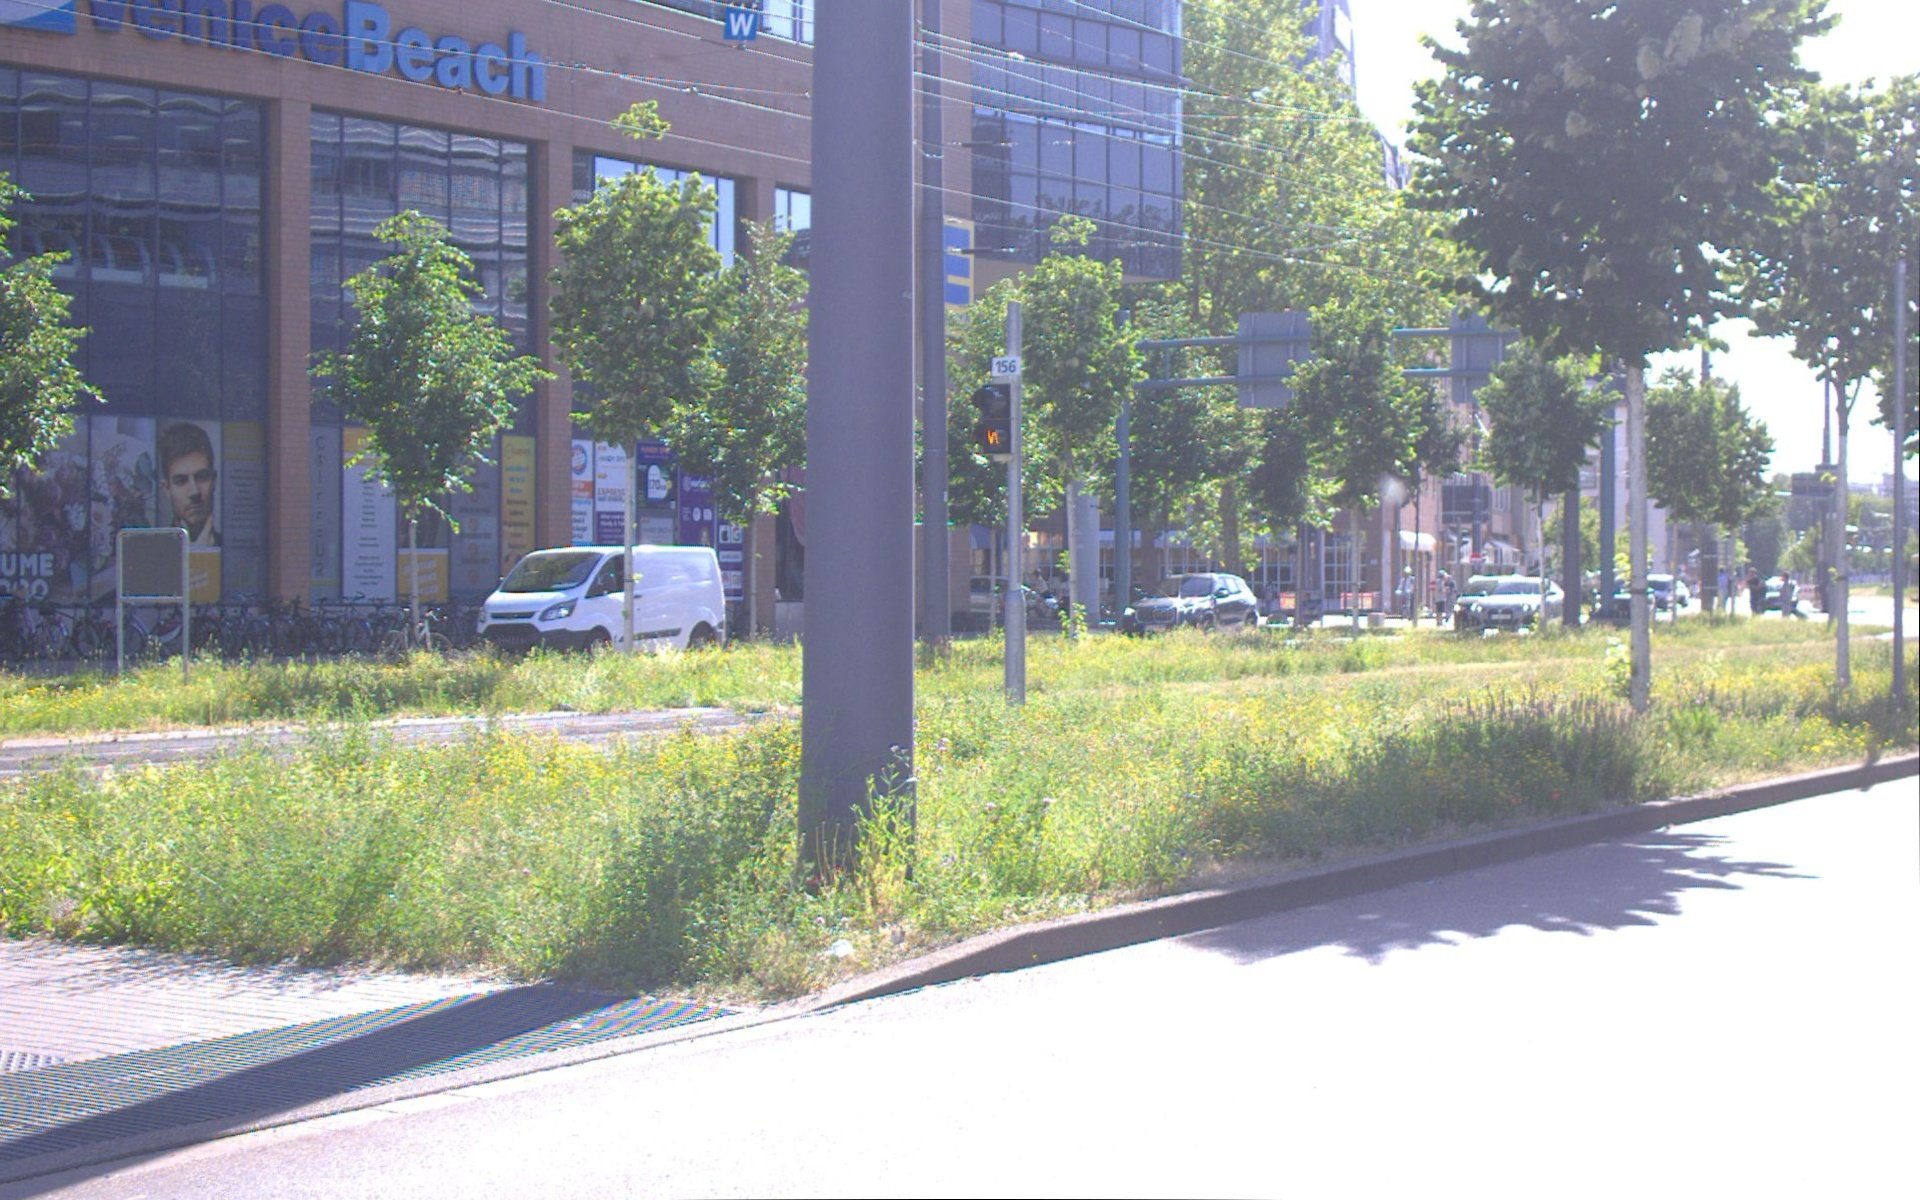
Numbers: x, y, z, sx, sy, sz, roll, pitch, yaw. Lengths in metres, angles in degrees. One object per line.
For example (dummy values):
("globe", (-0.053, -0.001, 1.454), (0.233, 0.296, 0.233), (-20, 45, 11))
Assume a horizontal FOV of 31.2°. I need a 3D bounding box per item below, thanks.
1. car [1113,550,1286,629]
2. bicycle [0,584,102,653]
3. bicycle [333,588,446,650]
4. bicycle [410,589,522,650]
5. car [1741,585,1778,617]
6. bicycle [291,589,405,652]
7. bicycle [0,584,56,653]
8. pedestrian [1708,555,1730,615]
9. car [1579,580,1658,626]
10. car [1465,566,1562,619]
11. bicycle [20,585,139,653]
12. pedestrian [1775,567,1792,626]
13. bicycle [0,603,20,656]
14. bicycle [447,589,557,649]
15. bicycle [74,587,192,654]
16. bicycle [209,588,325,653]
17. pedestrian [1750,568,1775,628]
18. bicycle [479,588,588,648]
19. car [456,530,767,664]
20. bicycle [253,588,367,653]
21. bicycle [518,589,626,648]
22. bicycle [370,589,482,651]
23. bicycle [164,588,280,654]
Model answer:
("car", (5.294, -0.245, 75.568), (1.997, 1.675, 4.530), (0, 0, 30))
("bicycle", (-15.882, 0.317, 59.438), (2.177, 1.119, 0.752), (2, 1, 34))
("bicycle", (-10.810, 0.351, 65.114), (2.177, 1.119, 0.752), (2, 1, 34))
("bicycle", (-9.538, 0.372, 66.353), (2.177, 1.119, 0.752), (2, 1, 34))
("car", (38.701, 0.023, 166.438), (1.610, 1.393, 3.917), (-3, 0, 13))
("bicycle", (-11.476, 0.373, 64.459), (2.177, 1.119, 0.752), (2, 1, 34))
("bicycle", (-16.424, 0.297, 58.514), (2.177, 1.119, 0.752), (2, 1, 34))
("pedestrian", (22.944, -0.450, 103.922), (0.460, 1.825, 0.459), (0, 0, -13))
("car", (19.729, 0.088, 102.975), (1.430, 1.355, 3.290), (0, 0, 27))
("car", (14.394, -0.201, 89.204), (1.995, 1.329, 4.787), (0, 0, 15))
("bicycle", (-15.402, 0.329, 60.126), (2.177, 1.119, 0.752), (2, 1, 34))
("pedestrian", (25.578, -0.121, 106.798), (0.385, 1.825, 0.464), (0, 0, -7))
("bicycle", (-15.554, 0.455, 54.462), (1.449, 0.816, 0.445), (2, 1, 34))
("bicycle", (-9.021, 0.360, 67.647), (2.177, 1.119, 0.752), (2, 1, 34))
("bicycle", (-14.649, 0.356, 60.851), (2.177, 1.119, 0.752), (2, 1, 34))
("bicycle", (-12.693, 0.369, 62.922), (2.177, 1.119, 0.752), (2, 1, 34))
("pedestrian", (24.494, -0.074, 104.904), (0.580, 1.825, 0.498), (0, 0, -13))
("bicycle", (-8.502, 0.356, 68.526), (2.177, 1.119, 0.752), (2, 1, 34))
("car", (-5.429, -0.056, 54.310), (2.224, 2.007, 5.247), (1, 0, 31))
("bicycle", (-12.060, 0.372, 63.746), (2.177, 1.119, 0.752), (2, 1, 34))
("bicycle", (-7.813, 0.365, 69.193), (2.177, 1.119, 0.752), (2, 1, 34))
("bicycle", (-10.226, 0.371, 65.784), (2.177, 1.119, 0.752), (2, 1, 34))
("bicycle", (-13.349, 0.370, 62.154), (2.177, 1.119, 0.752), (2, 1, 34))
